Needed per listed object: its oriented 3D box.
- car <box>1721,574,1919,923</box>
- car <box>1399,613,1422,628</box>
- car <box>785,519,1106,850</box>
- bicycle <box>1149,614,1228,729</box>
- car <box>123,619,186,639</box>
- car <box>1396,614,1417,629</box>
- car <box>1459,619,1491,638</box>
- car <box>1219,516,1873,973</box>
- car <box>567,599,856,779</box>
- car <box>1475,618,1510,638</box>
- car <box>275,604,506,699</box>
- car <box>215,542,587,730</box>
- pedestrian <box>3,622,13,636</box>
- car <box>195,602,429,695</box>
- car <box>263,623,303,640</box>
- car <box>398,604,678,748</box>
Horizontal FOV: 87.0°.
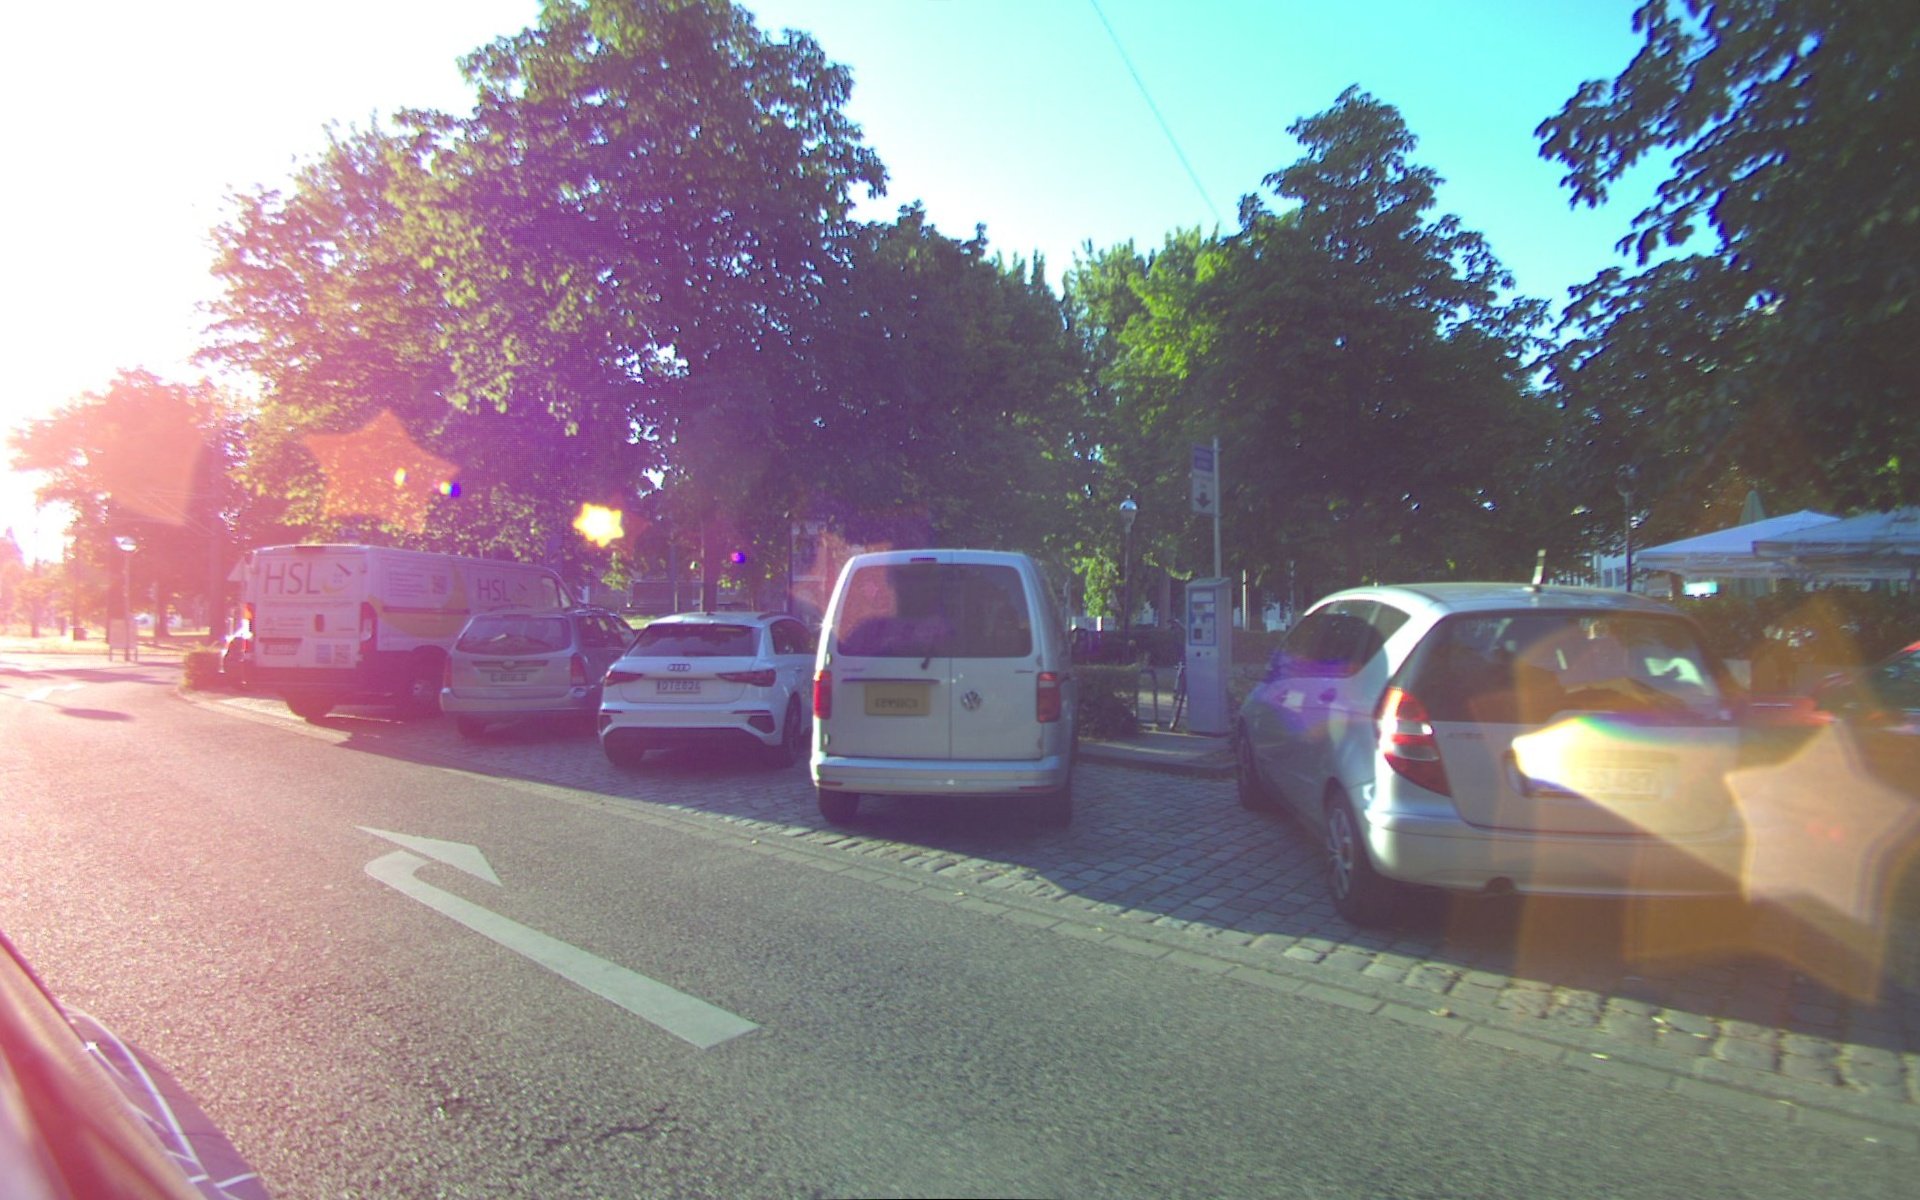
[{"bbox_3d":[5.000,0.618,3.513,1.976,1.497,3.992,-1,0,7],"label":"car"},{"bbox_3d":[53.745,2.480,120.802,1.983,1.697,3.977,-1,-1,17],"label":"car"},{"bbox_3d":[0.086,0.529,7.887,1.848,1.892,3.993,-1,-1,6],"label":"car"},{"bbox_3d":[2.679,0.791,11.761,0.395,1.228,1.619,-2,-1,31],"label":"bicycle"},{"bbox_3d":[-117.621,4.251,147.851,2.290,2.900,7.157,-1,-2,19],"label":"car"},{"bbox_3d":[56.375,2.728,127.913,1.983,1.785,3.977,-1,0,17],"label":"car"},{"bbox_3d":[47.966,2.630,94.331,1.983,1.719,3.977,-1,0,17],"label":"car"},{"bbox_3d":[2.722,0.554,5.868,1.728,1.709,3.993,-1,0,6],"label":"car"},{"bbox_3d":[-2.307,0.763,10.525,1.826,1.503,3.996,-1,0,3],"label":"car"},{"bbox_3d":[45.992,2.390,87.476,1.983,1.630,3.977,-1,0,17],"label":"car"},{"bbox_3d":[-10.028,0.857,18.210,1.808,1.498,3.997,-1,-1,2],"label":"car"},{"bbox_3d":[-7.774,0.457,14.710,2.182,2.268,4.591,-1,0,15],"label":"car"},{"bbox_3d":[-97.868,2.973,104.012,0.698,1.470,0.664,-2,-1,38],"label":"pedestrian"},{"bbox_3d":[-12.313,0.853,19.567,1.781,1.594,3.876,-1,0,7],"label":"car"},{"bbox_3d":[-83.034,3.876,124.162,3.958,2.029,1.904,-1,-1,12],"label":"car"},{"bbox_3d":[-5.001,0.826,12.653,1.856,1.479,4.000,-1,-1,0],"label":"car"}]
